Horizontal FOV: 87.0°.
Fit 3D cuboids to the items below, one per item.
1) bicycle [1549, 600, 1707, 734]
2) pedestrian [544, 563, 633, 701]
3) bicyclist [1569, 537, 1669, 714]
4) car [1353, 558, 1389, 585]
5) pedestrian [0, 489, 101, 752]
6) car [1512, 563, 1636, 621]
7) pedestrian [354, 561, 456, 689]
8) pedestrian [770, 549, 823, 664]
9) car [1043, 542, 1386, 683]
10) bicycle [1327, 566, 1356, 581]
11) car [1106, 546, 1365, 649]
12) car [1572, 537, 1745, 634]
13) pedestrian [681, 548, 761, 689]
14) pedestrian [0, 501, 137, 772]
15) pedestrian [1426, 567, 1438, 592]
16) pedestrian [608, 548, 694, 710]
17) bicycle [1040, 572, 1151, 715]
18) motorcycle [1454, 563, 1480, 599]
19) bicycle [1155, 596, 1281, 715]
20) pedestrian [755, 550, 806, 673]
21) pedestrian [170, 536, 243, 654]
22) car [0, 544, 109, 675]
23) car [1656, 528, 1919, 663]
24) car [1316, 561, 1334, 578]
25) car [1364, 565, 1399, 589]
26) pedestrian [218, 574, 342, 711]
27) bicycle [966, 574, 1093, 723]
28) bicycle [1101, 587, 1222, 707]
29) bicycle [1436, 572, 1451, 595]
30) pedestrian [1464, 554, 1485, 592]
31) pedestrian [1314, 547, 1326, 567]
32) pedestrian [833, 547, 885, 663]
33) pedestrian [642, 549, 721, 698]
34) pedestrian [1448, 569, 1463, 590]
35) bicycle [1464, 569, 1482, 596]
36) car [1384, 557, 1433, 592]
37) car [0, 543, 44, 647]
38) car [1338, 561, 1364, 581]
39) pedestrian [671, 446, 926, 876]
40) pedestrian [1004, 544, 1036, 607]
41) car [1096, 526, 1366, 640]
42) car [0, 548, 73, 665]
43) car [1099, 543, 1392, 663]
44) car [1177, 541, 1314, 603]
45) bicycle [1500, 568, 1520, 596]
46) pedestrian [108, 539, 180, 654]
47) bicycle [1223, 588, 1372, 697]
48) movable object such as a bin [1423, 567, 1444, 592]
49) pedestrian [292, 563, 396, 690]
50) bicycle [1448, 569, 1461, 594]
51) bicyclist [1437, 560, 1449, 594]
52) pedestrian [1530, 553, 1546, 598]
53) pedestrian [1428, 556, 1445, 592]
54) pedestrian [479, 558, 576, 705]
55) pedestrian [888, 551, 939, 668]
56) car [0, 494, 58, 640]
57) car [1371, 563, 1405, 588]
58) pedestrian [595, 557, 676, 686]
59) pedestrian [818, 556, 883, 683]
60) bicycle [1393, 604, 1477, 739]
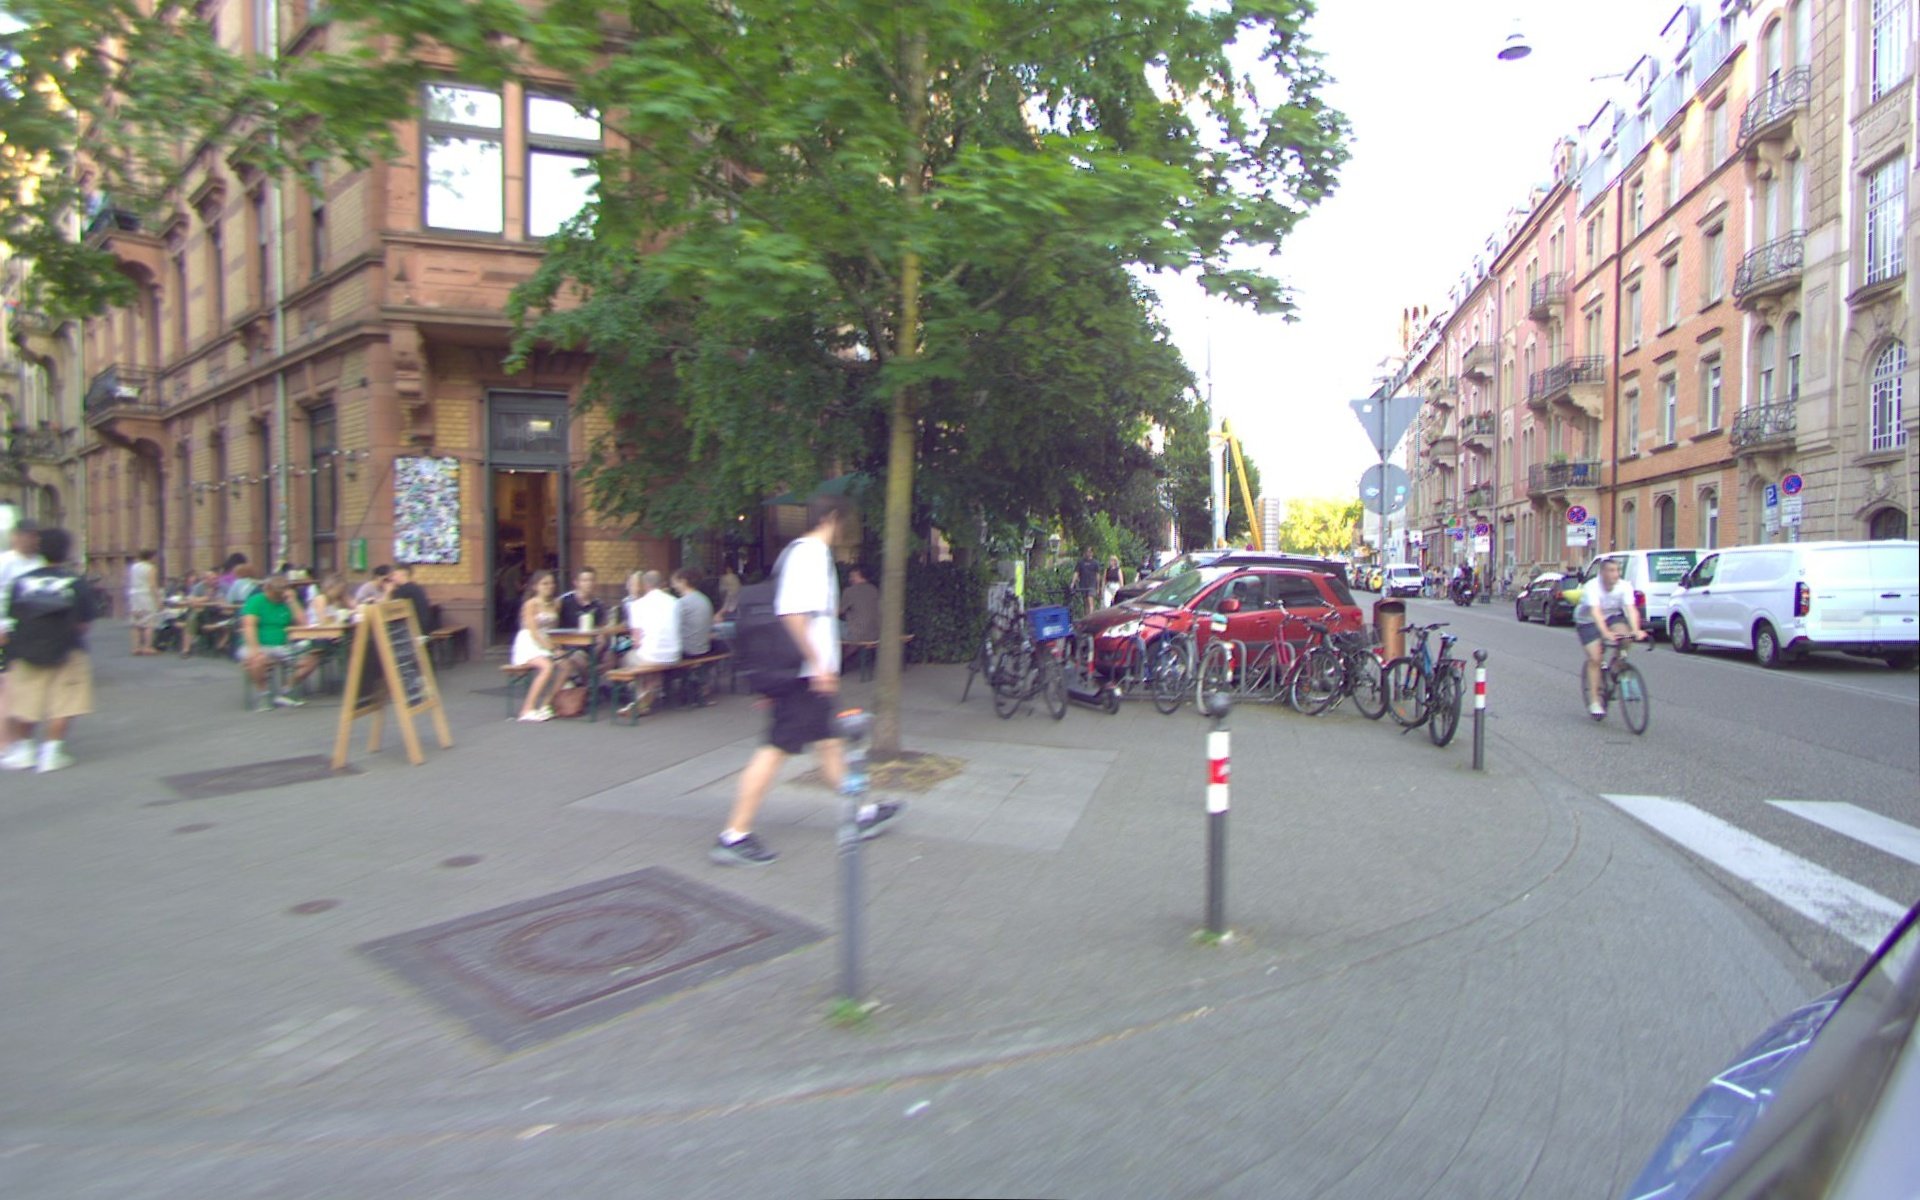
[{"bbox_3d":[6.725,0.620,10.291,0.511,1.169,1.782,-1,2,4],"label":"bicycle"},{"bbox_3d":[-3.601,0.297,9.829,0.539,1.285,0.571,-1,2,18],"label":"pedestrian"},{"bbox_3d":[6.719,0.238,10.346,0.519,1.724,0.789,-1,2,4],"label":"bicyclist"},{"bbox_3d":[30.269,-2.129,74.669,1.906,1.906,4.883,0,2,15],"label":"car"},{"bbox_3d":[-7.116,0.139,7.424,0.824,1.850,0.866,-1,2,11],"label":"pedestrian"},{"bbox_3d":[17.099,-0.290,28.407,1.816,1.489,4.155,0,2,14],"label":"car"},{"bbox_3d":[-6.169,0.257,11.275,0.619,1.362,0.735,-1,2,20],"label":"pedestrian"},{"bbox_3d":[-2.082,0.069,12.915,0.505,1.426,0.619,-1,2,4],"label":"pedestrian"},{"bbox_3d":[3.272,0.164,13.226,3.963,1.648,1.697,1,1,-15],"label":"car"},{"bbox_3d":[37.218,-2.604,98.645,2.601,1.416,0.595,0,2,30],"label":"bicycle"},{"bbox_3d":[5.048,-0.058,18.682,4.135,1.642,1.938,2,2,-17],"label":"car"},{"bbox_3d":[15.591,-0.375,22.909,1.818,1.945,4.820,0,2,17],"label":"car"},{"bbox_3d":[-2.454,0.175,10.406,0.540,1.397,0.570,-1,2,24],"label":"pedestrian"},{"bbox_3d":[-6.267,0.221,6.938,0.852,1.745,0.837,-2,2,-36],"label":"pedestrian"},{"bbox_3d":[24.638,-1.068,52.839,0.473,1.266,0.649,-1,2,17],"label":"pedestrian"},{"bbox_3d":[-2.748,0.244,9.022,0.538,1.397,0.465,-1,2,15],"label":"pedestrian"},{"bbox_3d":[1.333,0.375,10.292,0.586,1.304,1.772,-2,2,-10],"label":"bicycle"},{"bbox_3d":[20.782,-0.804,41.522,0.678,1.422,2.003,-1,2,19],"label":"motorcycle"},{"bbox_3d":[2.664,0.534,10.664,0.586,1.076,1.772,-2,2,-10],"label":"bicycle"},{"bbox_3d":[-2.171,0.122,12.184,0.503,1.426,0.621,-2,2,-16],"label":"pedestrian"},{"bbox_3d":[-11.308,-0.092,15.193,0.734,1.698,0.764,-3,2,-44],"label":"pedestrian"},{"bbox_3d":[-12.765,0.157,11.718,1.904,1.545,4.228,0,3,42],"label":"car"},{"bbox_3d":[14.003,-0.158,17.104,2.086,1.945,5.004,0,2,15],"label":"car"},{"bbox_3d":[42.684,-3.558,118.263,1.763,1.894,4.434,-1,2,18],"label":"car"},{"bbox_3d":[28.908,-1.601,69.527,1.908,1.616,3.948,0,2,18],"label":"car"},{"bbox_3d":[-6.496,0.383,9.694,0.619,1.247,0.735,-1,2,20],"label":"pedestrian"},{"bbox_3d":[0.632,0.408,9.854,0.586,1.304,1.727,-1,2,-20],"label":"bicycle"},{"bbox_3d":[2.049,0.446,10.563,0.586,1.076,1.773,2,2,-10],"label":"bicycle"},{"bbox_3d":[23.335,-0.804,48.863,0.461,1.081,1.511,-1,2,19],"label":"bicycle"},{"bbox_3d":[25.341,-1.326,49.815,0.673,1.832,0.958,-1,2,12],"label":"pedestrian"},{"bbox_3d":[50.606,-5.991,142.196,1.426,2.774,1.007,-1,2,16],"label":"pedestrian"},{"bbox_3d":[-1.280,0.053,12.838,0.545,1.426,0.514,-1,2,5],"label":"pedestrian"},{"bbox_3d":[-2.668,0.215,9.729,0.538,1.397,0.465,-1,2,15],"label":"pedestrian"},{"bbox_3d":[27.688,-1.142,56.533,0.624,1.154,0.570,-1,2,15],"label":"pedestrian"},{"bbox_3d":[23.068,-0.787,45.549,0.407,1.174,1.828,-1,2,17],"label":"bicycle"},{"bbox_3d":[24.622,-1.417,55.699,1.750,1.810,4.569,-1,2,14],"label":"car"},{"bbox_3d":[-16.215,0.000,14.438,1.993,1.545,4.476,0,3,42],"label":"car"},{"bbox_3d":[34.233,-2.559,88.695,1.707,1.668,3.897,-1,2,16],"label":"car"},{"bbox_3d":[-0.786,0.231,4.808,0.929,1.791,0.870,-2,2,-27],"label":"pedestrian"},{"bbox_3d":[1.359,-0.560,22.785,0.580,1.382,0.695,-1,2,13],"label":"pedestrian"},{"bbox_3d":[5.746,-0.330,21.414,5.322,2.098,1.938,2,2,-21],"label":"car"},{"bbox_3d":[-14.429,0.146,13.099,1.904,1.545,4.228,0,3,42],"label":"car"},{"bbox_3d":[4.578,0.045,16.292,4.135,1.709,1.938,2,2,-21],"label":"car"},{"bbox_3d":[11.381,-1.111,40.560,4.837,2.391,2.004,0,1,-9],"label":"car"},{"bbox_3d":[24.338,-0.790,44.800,0.407,1.174,1.828,-1,2,17],"label":"bicycle"},{"bbox_3d":[-12.474,-0.073,15.473,0.734,1.698,0.764,-3,2,-44],"label":"pedestrian"},{"bbox_3d":[3.818,0.473,11.494,1.524,1.175,0.365,1,2,3],"label":"bicycle"},{"bbox_3d":[24.653,-1.063,52.716,0.878,1.266,0.772,-1,2,17],"label":"movable object such as a bin"},{"bbox_3d":[-6.865,0.273,11.306,0.619,1.362,0.735,-1,2,20],"label":"pedestrian"},{"bbox_3d":[24.246,-0.926,49.656,0.462,1.169,1.985,-1,2,23],"label":"bicycle"},{"bbox_3d":[23.394,-1.115,49.062,0.461,1.610,0.484,-1,2,20],"label":"bicyclist"},{"bbox_3d":[23.464,-1.015,41.104,0.459,1.811,0.638,-1,2,20],"label":"pedestrian"},{"bbox_3d":[24.495,-1.343,52.040,0.590,1.836,0.719,-1,2,8],"label":"pedestrian"},{"bbox_3d":[-3.942,0.268,9.244,0.539,1.285,0.571,-1,2,18],"label":"pedestrian"},{"bbox_3d":[-0.579,0.111,12.647,0.545,1.426,0.514,-1,2,5],"label":"pedestrian"},{"bbox_3d":[-18.187,-0.464,16.046,2.234,2.450,5.467,0,3,39],"label":"car"},{"bbox_3d":[27.592,-1.620,65.346,1.688,1.549,3.772,0,2,18],"label":"car"},{"bbox_3d":[-3.341,0.207,10.443,0.539,1.285,0.571,-1,2,18],"label":"pedestrian"},{"bbox_3d":[-1.264,0.210,11.744,0.628,1.426,0.514,-1,2,5],"label":"pedestrian"},{"bbox_3d":[4.355,0.610,9.352,0.359,1.076,1.547,-1,2,13],"label":"bicycle"}]
